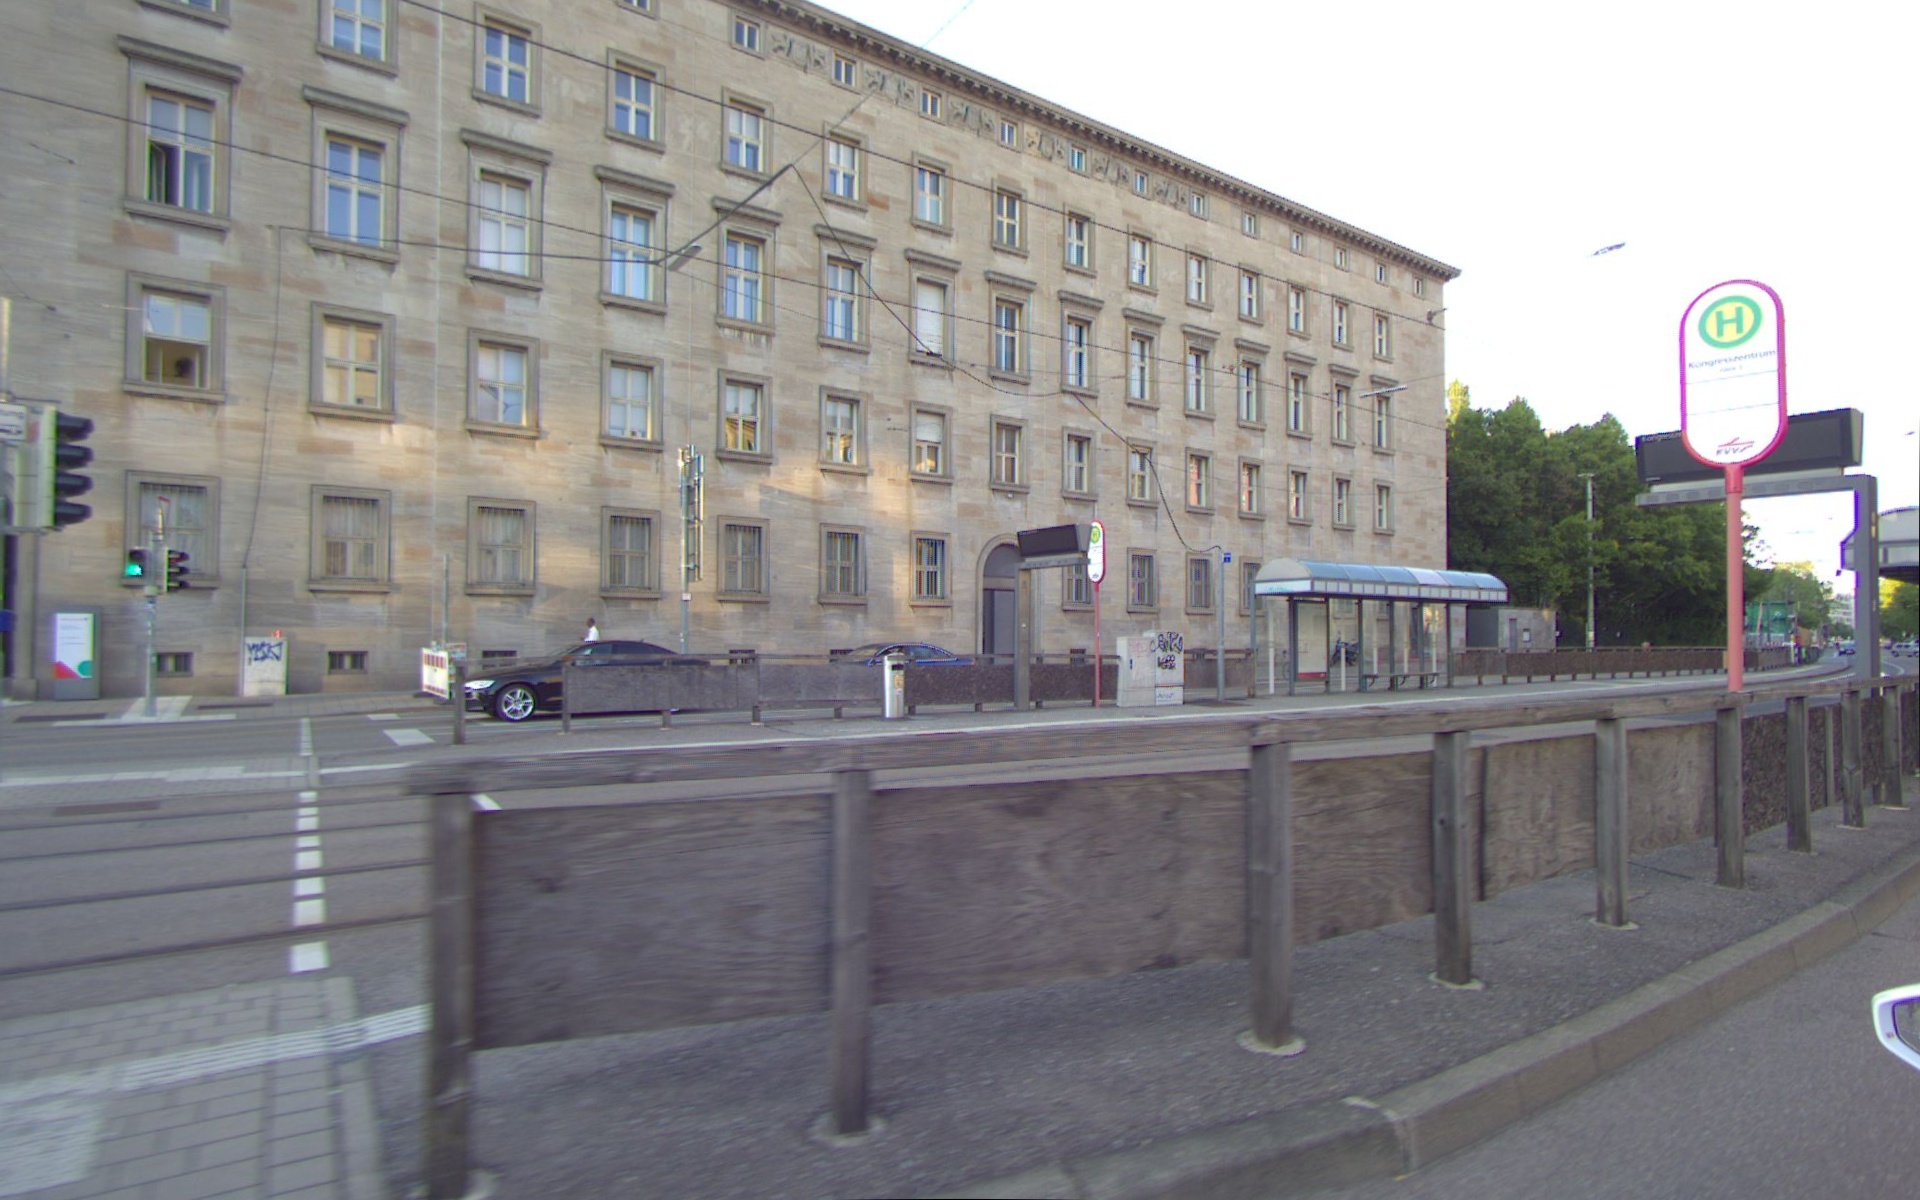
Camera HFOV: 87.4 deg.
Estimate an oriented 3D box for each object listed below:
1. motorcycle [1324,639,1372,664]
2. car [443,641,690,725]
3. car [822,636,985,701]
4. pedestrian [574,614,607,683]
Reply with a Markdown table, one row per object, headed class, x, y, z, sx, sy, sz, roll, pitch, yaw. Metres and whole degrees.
| class | x | y | z | sx | sy | sz | roll | pitch | yaw |
| --- | --- | --- | --- | --- | --- | --- | --- | --- | --- |
| motorcycle | 17.673 | 2.328 | 45.686 | 2.627 | 1.088 | 0.694 | 2 | -3 | -36 |
| car | -7.531 | 1.519 | 19.390 | 4.190 | 1.446 | 1.632 | 1 | -2 | -36 |
| car | -1.330 | 1.613 | 24.358 | 3.668 | 1.446 | 1.632 | 1 | -2 | -35 |
| pedestrian | -9.477 | 1.243 | 25.766 | 0.639 | 1.732 | 0.692 | 1 | -2 | -32 |
